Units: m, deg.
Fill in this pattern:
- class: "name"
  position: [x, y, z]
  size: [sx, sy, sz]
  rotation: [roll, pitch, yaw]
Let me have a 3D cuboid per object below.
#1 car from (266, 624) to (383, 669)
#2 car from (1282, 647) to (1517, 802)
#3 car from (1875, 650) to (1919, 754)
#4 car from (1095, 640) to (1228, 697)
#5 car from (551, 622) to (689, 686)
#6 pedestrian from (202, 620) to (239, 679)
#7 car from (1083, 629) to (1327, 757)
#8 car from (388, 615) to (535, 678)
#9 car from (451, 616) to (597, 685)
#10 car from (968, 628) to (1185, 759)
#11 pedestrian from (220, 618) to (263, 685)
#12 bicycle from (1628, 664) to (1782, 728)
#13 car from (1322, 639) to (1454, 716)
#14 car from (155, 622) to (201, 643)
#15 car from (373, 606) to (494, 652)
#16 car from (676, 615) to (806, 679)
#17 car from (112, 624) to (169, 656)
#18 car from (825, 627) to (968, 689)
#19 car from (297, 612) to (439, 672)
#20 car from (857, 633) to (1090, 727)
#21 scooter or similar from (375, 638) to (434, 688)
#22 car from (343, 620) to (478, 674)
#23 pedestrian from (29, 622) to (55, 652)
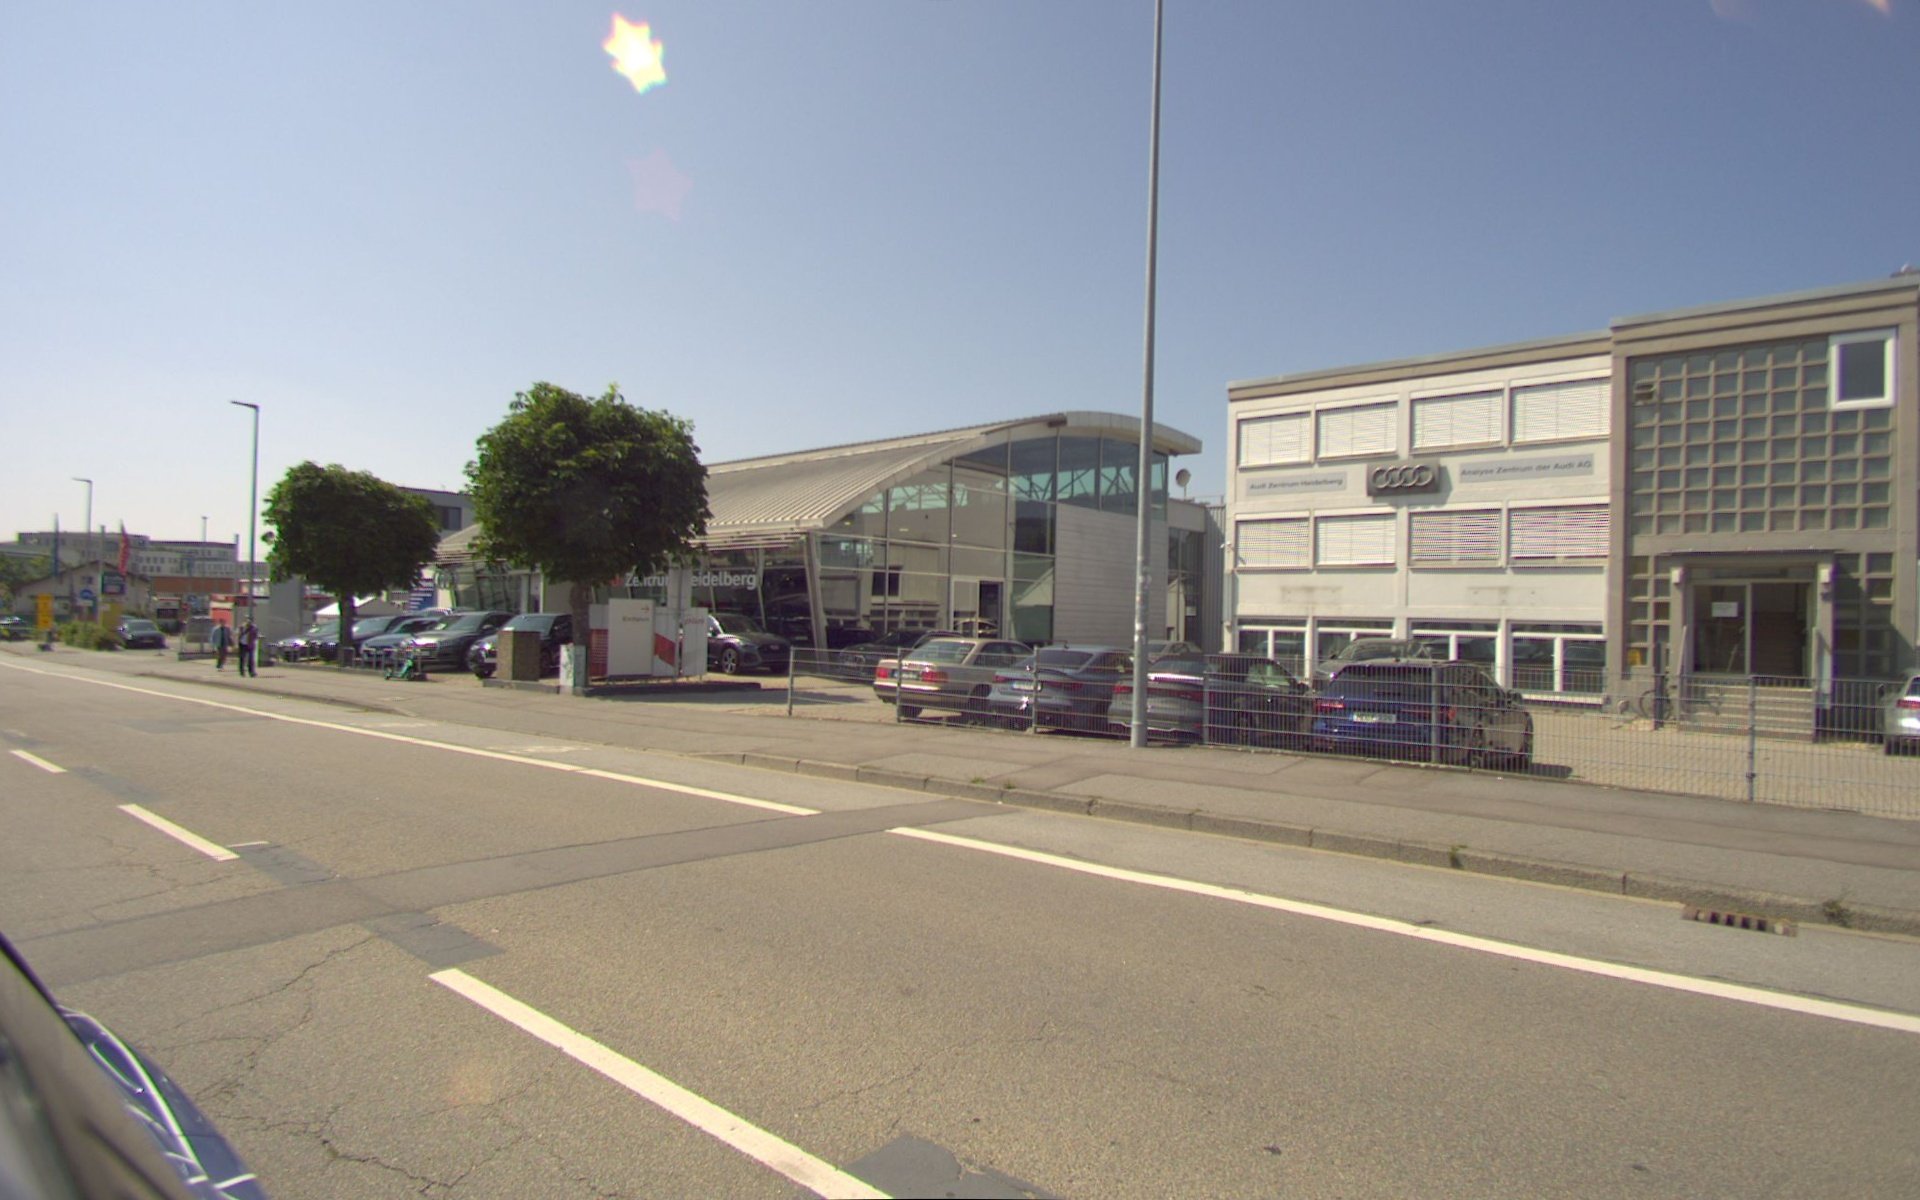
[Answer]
- class: "car"
  position: [-23.250, 1.654, 37.217]
  size: [1.880, 1.470, 4.163]
  rotation: [0, 0, -3]
- class: "car"
  position: [5.662, 1.408, 12.756]
  size: [1.856, 1.501, 3.950]
  rotation: [2, -1, 36]
- class: "car"
  position: [16.961, 1.702, 17.200]
  size: [1.857, 1.557, 3.948]
  rotation: [0, -1, 39]
- class: "car"
  position: [5.482, 1.787, 27.288]
  size: [1.858, 1.370, 3.946]
  rotation: [-1, -2, 40]
- class: "car"
  position: [-8.888, 1.373, 26.829]
  size: [1.838, 1.562, 3.988]
  rotation: [-1, -1, 9]
- class: "pedestrian"
  position: [-23.959, 1.594, 32.785]
  size: [0.911, 1.862, 0.715]
  rotation: [-2, -3, 41]
- class: "car"
  position: [3.611, 1.382, 14.404]
  size: [1.857, 1.454, 3.949]
  rotation: [2, -6, 38]
- class: "car"
  position: [-14.617, 1.334, 30.014]
  size: [1.836, 1.709, 4.573]
  rotation: [-1, -1, 5]
- class: "car"
  position: [-12.070, 1.344, 28.372]
  size: [1.886, 1.720, 4.474]
  rotation: [-1, 0, 5]
- class: "car"
  position: [1.946, 1.339, 15.908]
  size: [1.819, 1.455, 3.858]
  rotation: [1, 3, 34]
- class: "pedestrian"
  position: [-20.712, 1.462, 29.171]
  size: [1.046, 1.882, 0.725]
  rotation: [-2, -3, 41]
- class: "bicycle"
  position: [15.730, 1.997, 21.436]
  size: [2.573, 1.187, 0.916]
  rotation: [-1, -2, 39]
- class: "car"
  position: [10.192, 1.748, 23.929]
  size: [1.856, 1.565, 4.313]
  rotation: [-1, -2, 37]
- class: "car"
  position: [-54.983, 2.287, 71.170]
  size: [4.485, 1.399, 1.886]
  rotation: [-2, -3, 44]
- class: "car"
  position: [-21.719, 1.187, 41.754]
  size: [4.705, 1.732, 1.983]
  rotation: [-1, 2, 25]
- class: "car"
  position: [-6.332, 1.299, 29.054]
  size: [1.969, 1.697, 4.006]
  rotation: [1, -2, -41]
- class: "car"
  position: [-45.310, 2.183, 55.935]
  size: [4.000, 1.728, 1.884]
  rotation: [-2, -3, 43]
- class: "car"
  position: [-1.754, 1.586, 28.080]
  size: [3.418, 1.518, 1.889]
  rotation: [2, 1, -34]
- class: "car"
  position: [-20.477, 1.413, 35.252]
  size: [1.941, 1.620, 4.477]
  rotation: [-5, 1, 5]
- class: "car"
  position: [0.376, 1.339, 18.257]
  size: [1.898, 1.469, 4.480]
  rotation: [-1, -2, 38]
- class: "scooter or similar"
  position: [-14.558, 1.630, 26.514]
  size: [1.486, 1.257, 0.738]
  rotation: [-1, -2, 33]
- class: "car"
  position: [-17.546, 1.453, 32.546]
  size: [1.851, 1.506, 4.197]
  rotation: [0, 0, 5]
- class: "pedestrian"
  position: [-51.930, 2.109, 57.256]
  size: [0.981, 1.698, 0.801]
  rotation: [2, -3, -39]
